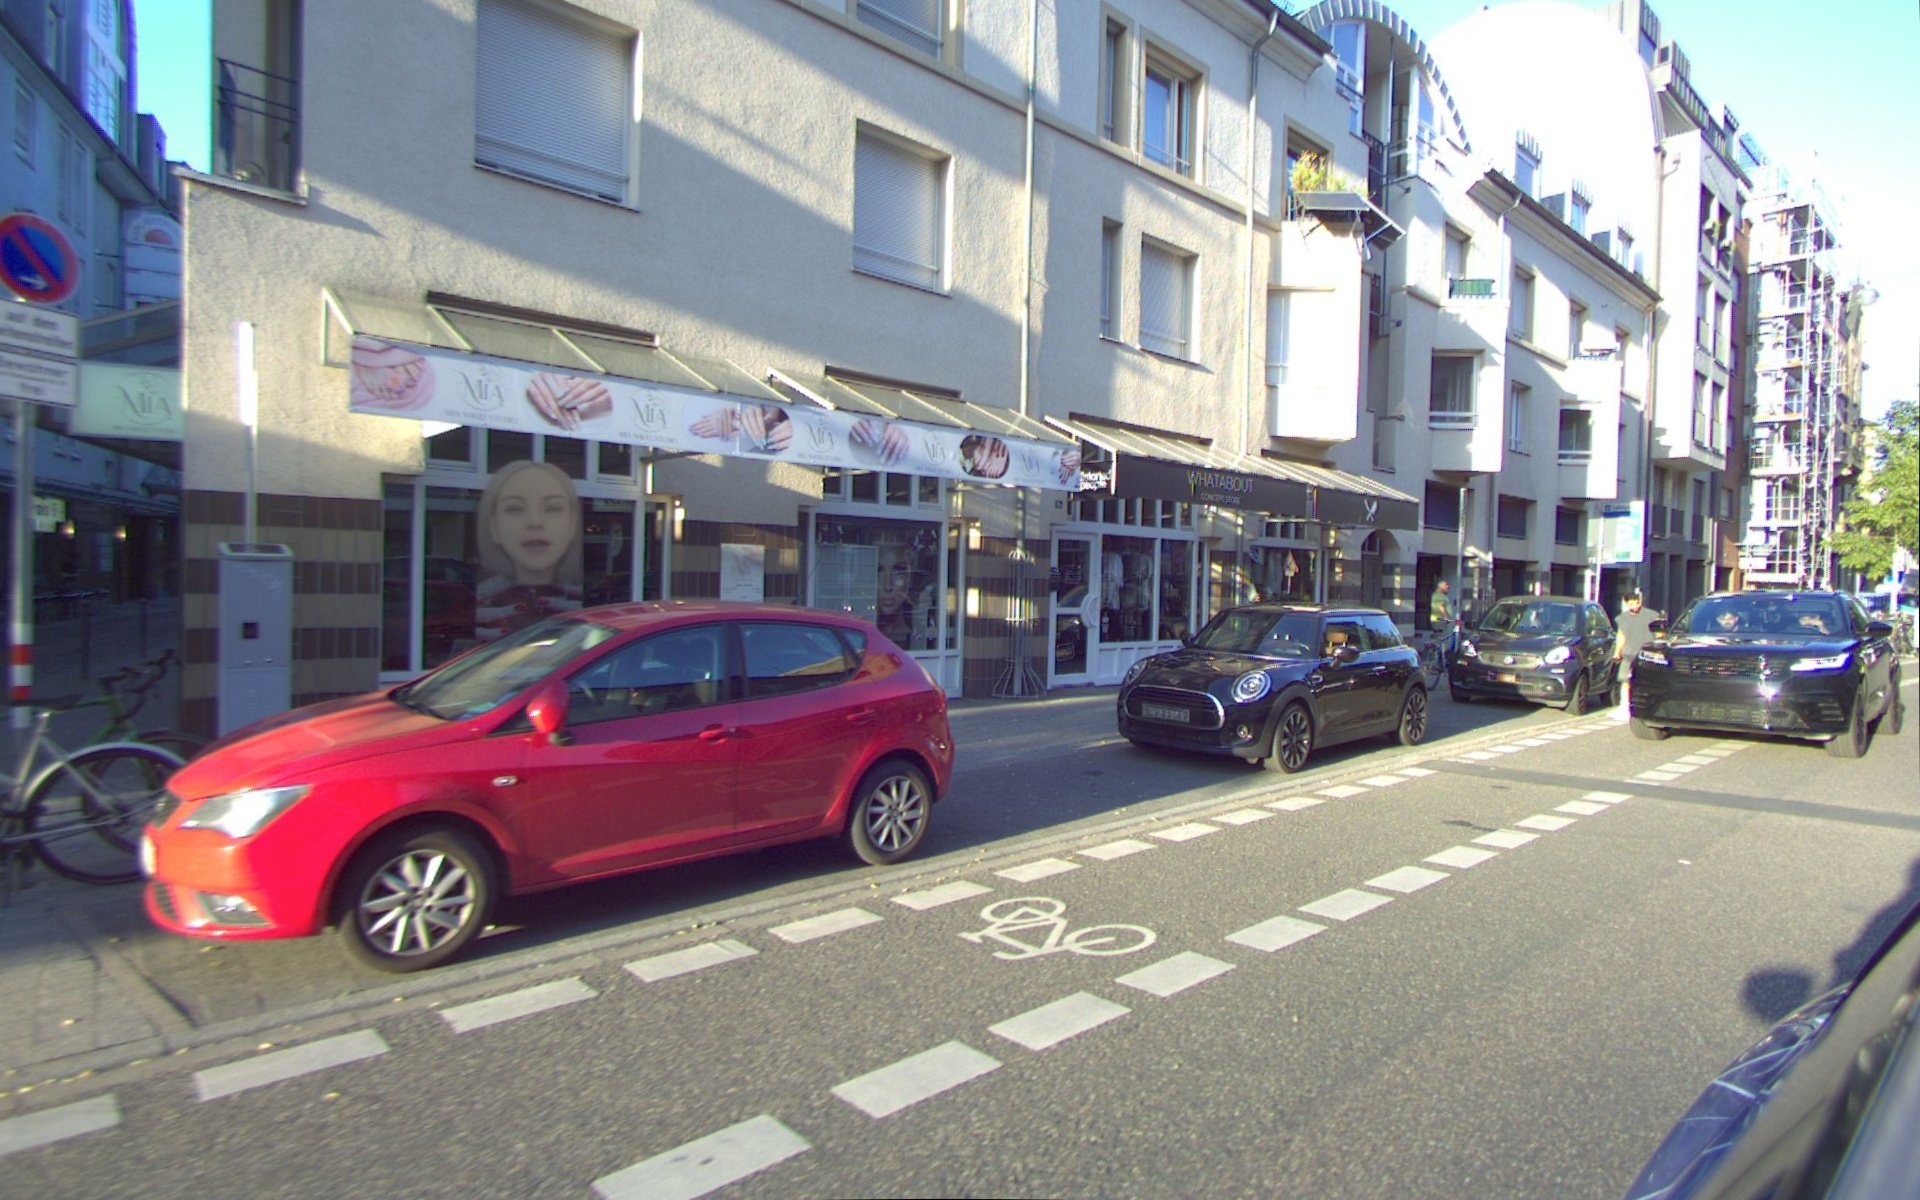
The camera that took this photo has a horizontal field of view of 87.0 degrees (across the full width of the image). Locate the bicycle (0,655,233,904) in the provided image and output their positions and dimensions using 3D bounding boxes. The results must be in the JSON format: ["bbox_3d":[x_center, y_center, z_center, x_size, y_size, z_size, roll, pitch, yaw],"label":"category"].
[{"bbox_3d":[-4.385,0.833,4.695,1.635,1.059,0.315,-1,3,-39],"label":"bicycle"}]

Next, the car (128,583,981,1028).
[{"bbox_3d":[-1.845,0.680,5.325,3.858,1.451,1.591,0,3,-42],"label":"car"}]

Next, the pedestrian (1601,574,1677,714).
[{"bbox_3d":[8.928,0.551,13.311,0.658,1.771,0.630,0,2,-42],"label":"pedestrian"}]

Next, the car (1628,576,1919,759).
[{"bbox_3d":[9.171,0.592,11.284,4.154,1.656,1.888,0,0,-42],"label":"car"}]

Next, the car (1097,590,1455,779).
[{"bbox_3d":[3.227,0.658,9.958,3.858,1.452,1.619,0,2,-42],"label":"car"}]

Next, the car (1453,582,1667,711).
[{"bbox_3d":[8.860,0.570,14.816,3.858,1.612,1.619,0,2,-42],"label":"car"}]

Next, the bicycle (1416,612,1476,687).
[{"bbox_3d":[7.680,0.761,15.968,1.437,1.099,0.296,-1,1,-41],"label":"bicycle"}]

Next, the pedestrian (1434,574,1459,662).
[{"bbox_3d":[10.237,0.372,21.301,0.445,1.823,0.572,0,0,24],"label":"pedestrian"}]

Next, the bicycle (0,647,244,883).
[{"bbox_3d":[-4.633,0.809,4.939,1.848,1.059,0.315,-1,3,-39],"label":"bicycle"}]

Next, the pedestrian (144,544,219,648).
[{"bbox_3d":[-13.123,-0.078,17.081,0.689,1.696,0.799,1,3,-6],"label":"pedestrian"}]
